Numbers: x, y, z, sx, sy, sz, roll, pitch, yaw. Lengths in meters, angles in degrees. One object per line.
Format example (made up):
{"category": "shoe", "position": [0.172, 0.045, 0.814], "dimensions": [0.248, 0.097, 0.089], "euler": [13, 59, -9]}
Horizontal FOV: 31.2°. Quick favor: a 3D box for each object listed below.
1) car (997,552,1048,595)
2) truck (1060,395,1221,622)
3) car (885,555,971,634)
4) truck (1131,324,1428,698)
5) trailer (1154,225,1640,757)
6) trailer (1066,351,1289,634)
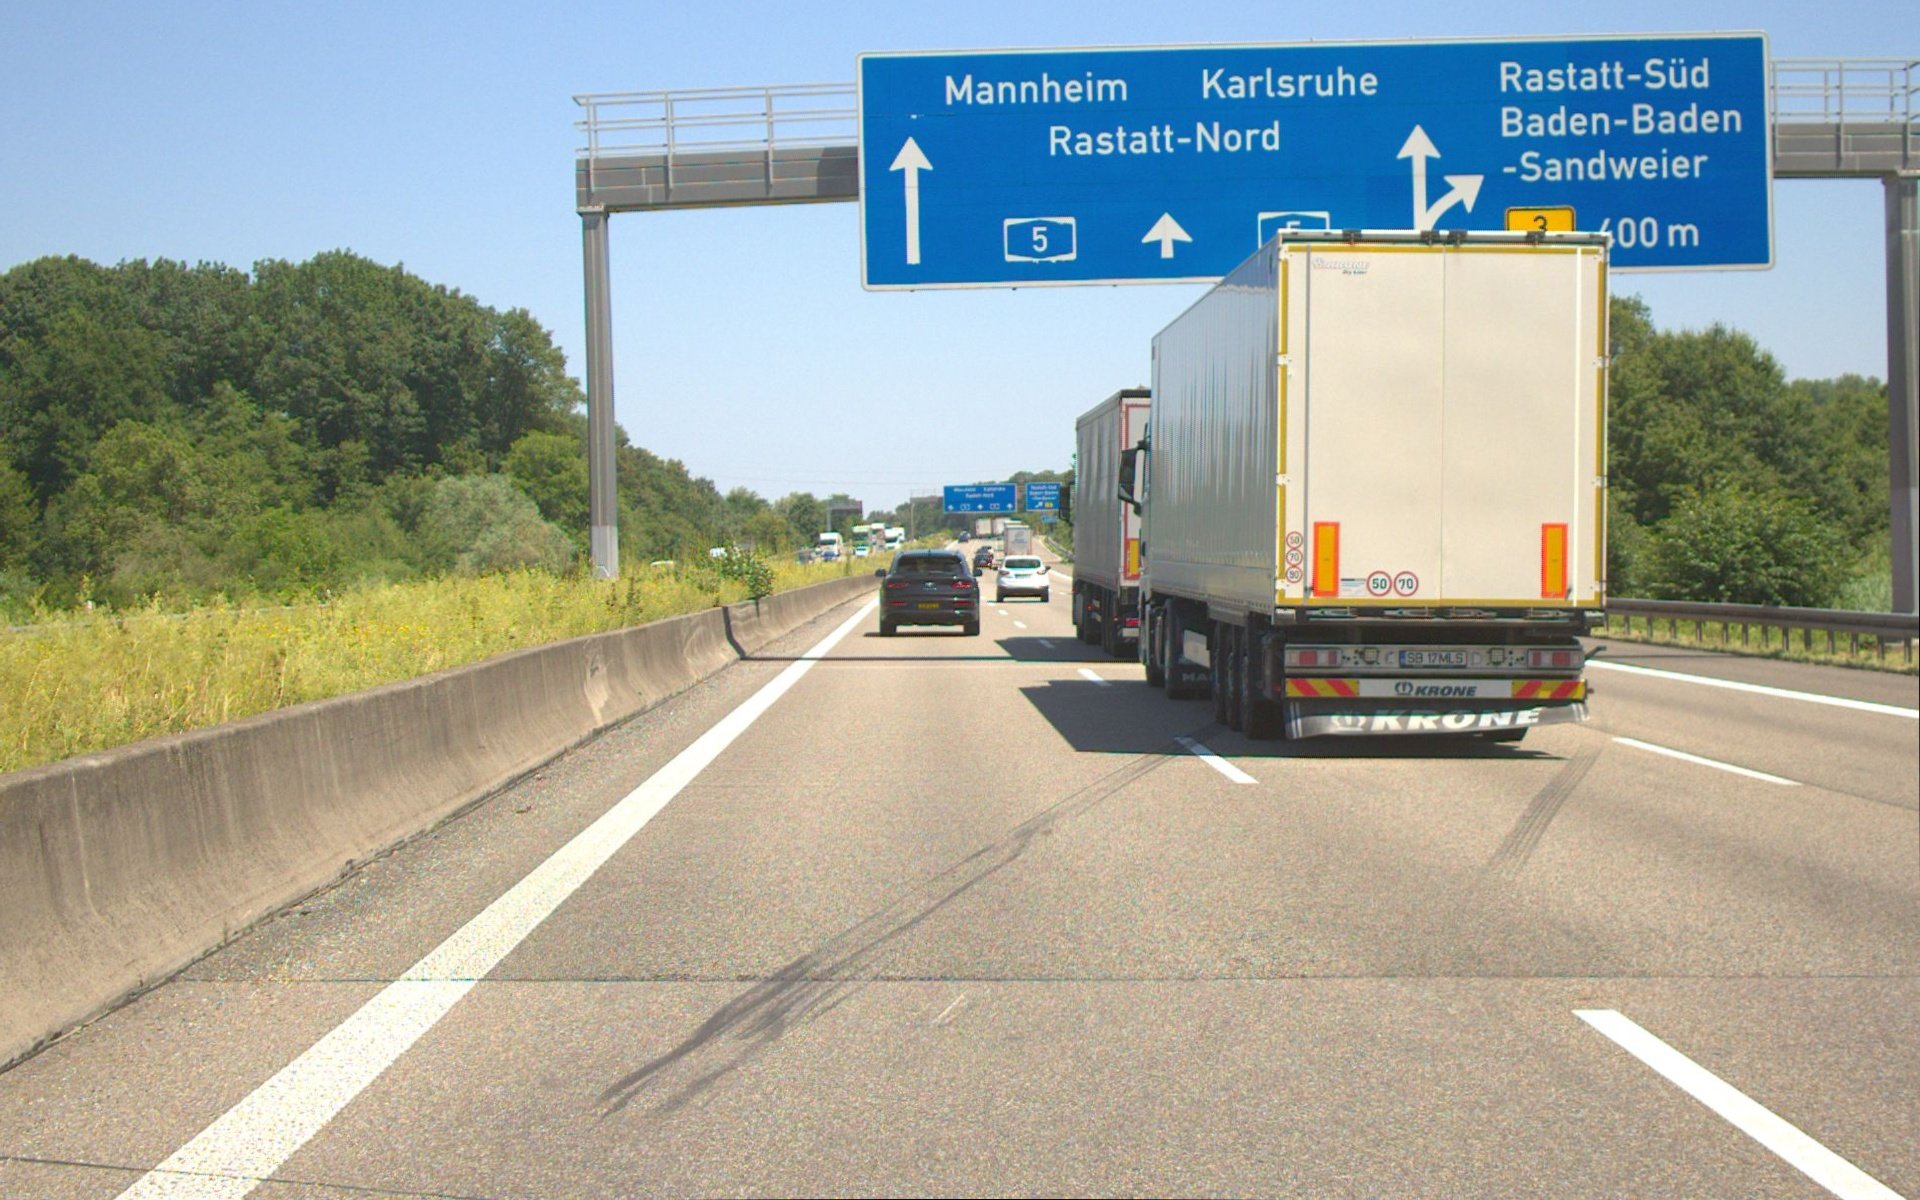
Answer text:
{"category": "car", "position": [2.187, -0.951, 121.135], "dimensions": [1.740, 1.481, 4.000], "euler": [0, 1, 0]}
{"category": "truck", "position": [3.343, -1.658, 65.141], "dimensions": [2.700, 4.080, 6.453], "euler": [0, 0, 0]}
{"category": "car", "position": [-0.671, -0.114, 69.243], "dimensions": [1.660, 1.544, 3.783], "euler": [0, 0, -1]}
{"category": "truck", "position": [3.566, -0.996, 39.757], "dimensions": [2.799, 3.993, 6.021], "euler": [0, 1, -1]}
{"category": "trailer", "position": [3.663, -0.912, 32.298], "dimensions": [2.794, 4.021, 12.568], "euler": [0, 1, -1]}
{"category": "trailer", "position": [3.359, -1.584, 56.775], "dimensions": [2.707, 4.054, 14.746], "euler": [0, 0, 0]}
